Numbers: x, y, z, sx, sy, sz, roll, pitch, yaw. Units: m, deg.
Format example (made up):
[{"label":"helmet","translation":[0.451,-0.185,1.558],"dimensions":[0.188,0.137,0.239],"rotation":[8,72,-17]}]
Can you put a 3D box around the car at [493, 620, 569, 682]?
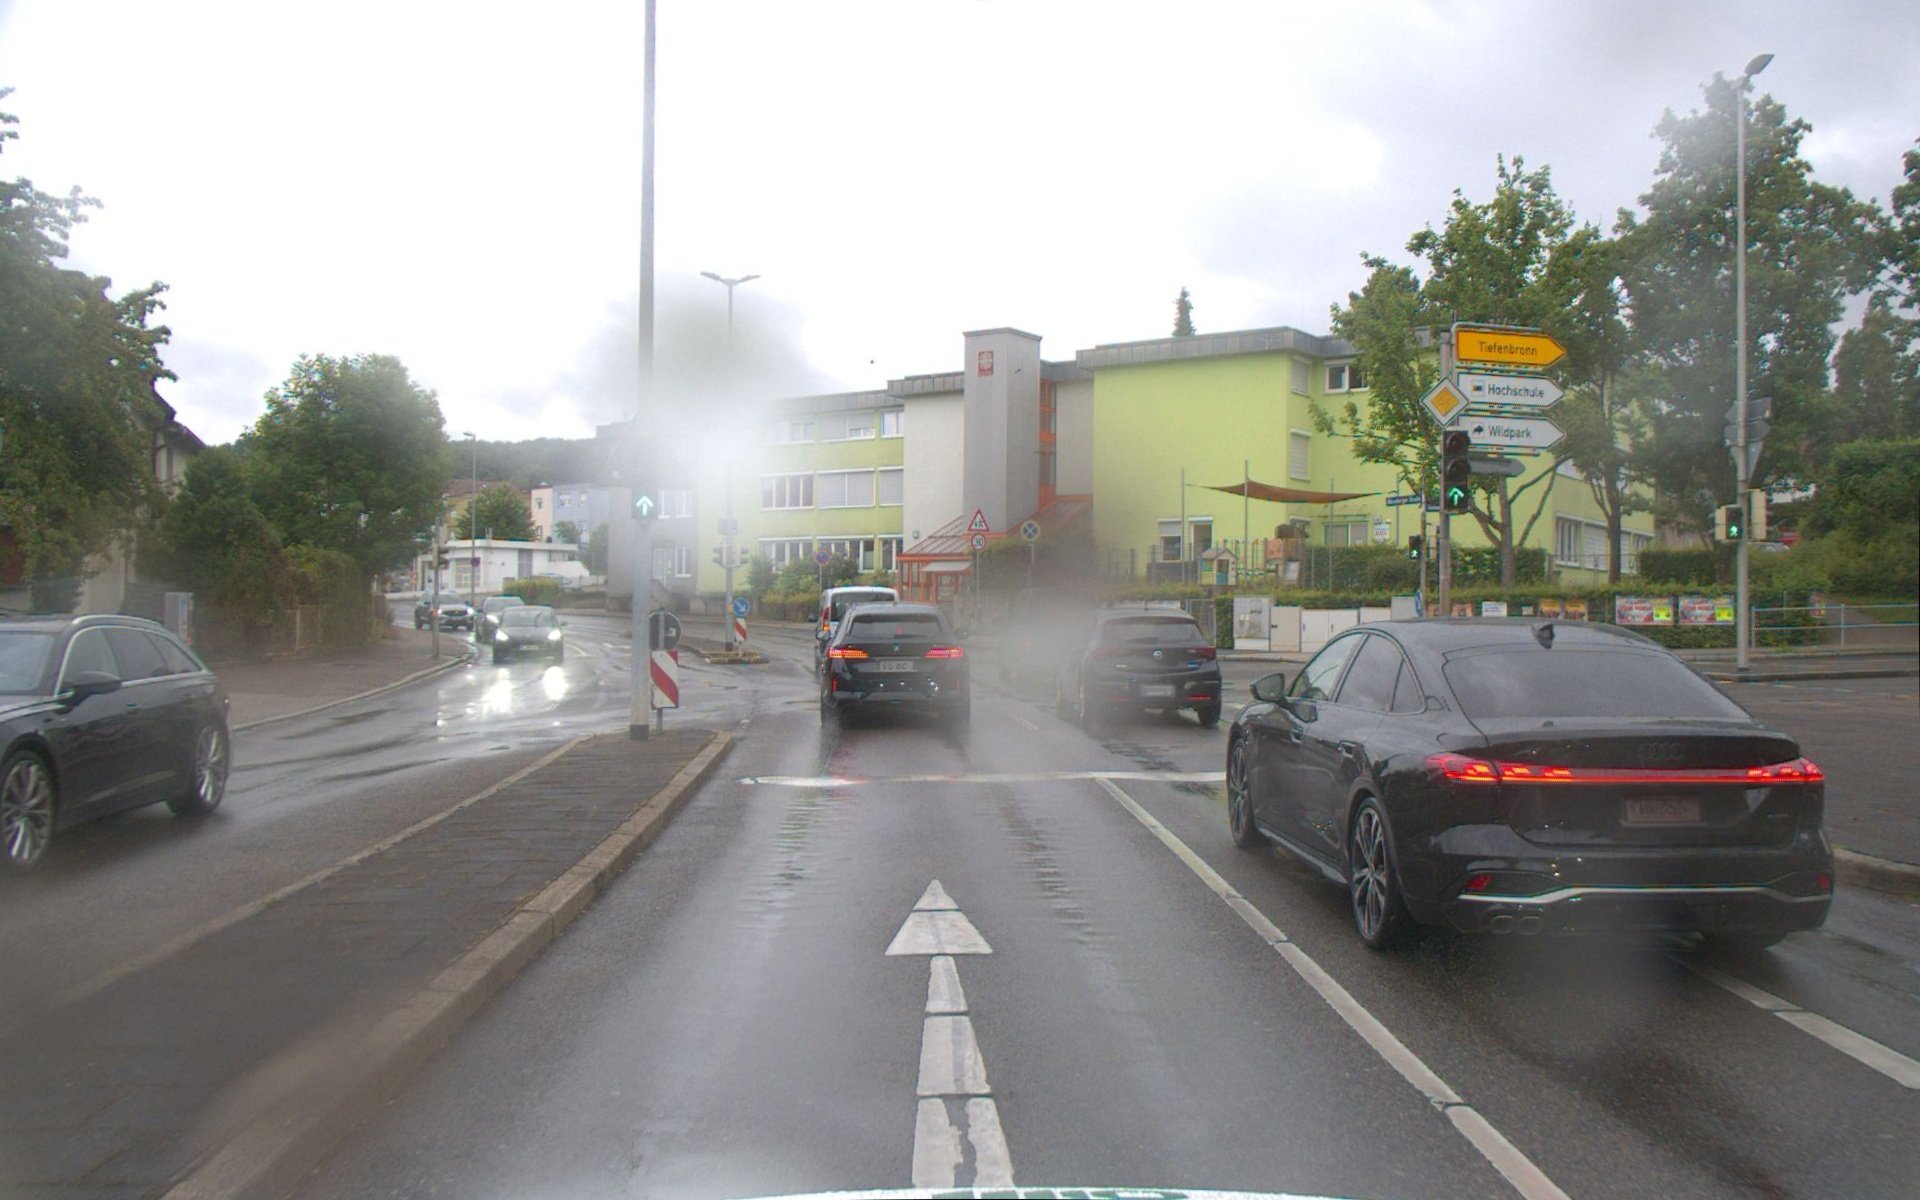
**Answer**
[{"label":"car","translation":[-11.606,1.343,44.948],"dimensions":[1.761,1.515,4.141],"rotation":[-2,0,-12]}]

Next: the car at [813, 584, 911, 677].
[{"label":"car","translation":[-2.196,0.617,36.146],"dimensions":[1.685,1.877,4.078],"rotation":[1,0,-9]}]

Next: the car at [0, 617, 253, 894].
[{"label":"car","translation":[-6.140,0.870,10.484],"dimensions":[1.703,1.462,4.551],"rotation":[-1,0,-5]}]

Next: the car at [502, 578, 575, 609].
[{"label":"car","translation":[-26.704,-0.429,104.646],"dimensions":[4.327,1.803,1.990],"rotation":[-2,0,-19]}]

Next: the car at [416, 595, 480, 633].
[{"label":"car","translation":[-22.735,0.626,73.400],"dimensions":[1.608,1.609,3.726],"rotation":[-2,0,-36]}]

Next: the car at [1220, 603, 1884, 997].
[{"label":"car","translation":[2.596,0.755,8.498],"dimensions":[1.672,1.452,4.507],"rotation":[0,0,-2]}]

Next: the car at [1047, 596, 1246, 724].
[{"label":"car","translation":[2.361,0.714,21.988],"dimensions":[1.814,1.512,4.082],"rotation":[-1,0,-6]}]

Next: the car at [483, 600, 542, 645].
[{"label":"car","translation":[-16.423,0.796,60.589],"dimensions":[1.822,1.592,3.978],"rotation":[0,0,-19]}]

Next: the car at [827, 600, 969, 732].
[{"label":"car","translation":[-0.883,0.783,21.472],"dimensions":[1.650,1.532,3.770],"rotation":[0,0,-5]}]

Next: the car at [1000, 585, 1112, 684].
[{"label":"car","translation":[1.784,0.603,31.846],"dimensions":[1.747,1.764,4.085],"rotation":[0,1,-3]}]
